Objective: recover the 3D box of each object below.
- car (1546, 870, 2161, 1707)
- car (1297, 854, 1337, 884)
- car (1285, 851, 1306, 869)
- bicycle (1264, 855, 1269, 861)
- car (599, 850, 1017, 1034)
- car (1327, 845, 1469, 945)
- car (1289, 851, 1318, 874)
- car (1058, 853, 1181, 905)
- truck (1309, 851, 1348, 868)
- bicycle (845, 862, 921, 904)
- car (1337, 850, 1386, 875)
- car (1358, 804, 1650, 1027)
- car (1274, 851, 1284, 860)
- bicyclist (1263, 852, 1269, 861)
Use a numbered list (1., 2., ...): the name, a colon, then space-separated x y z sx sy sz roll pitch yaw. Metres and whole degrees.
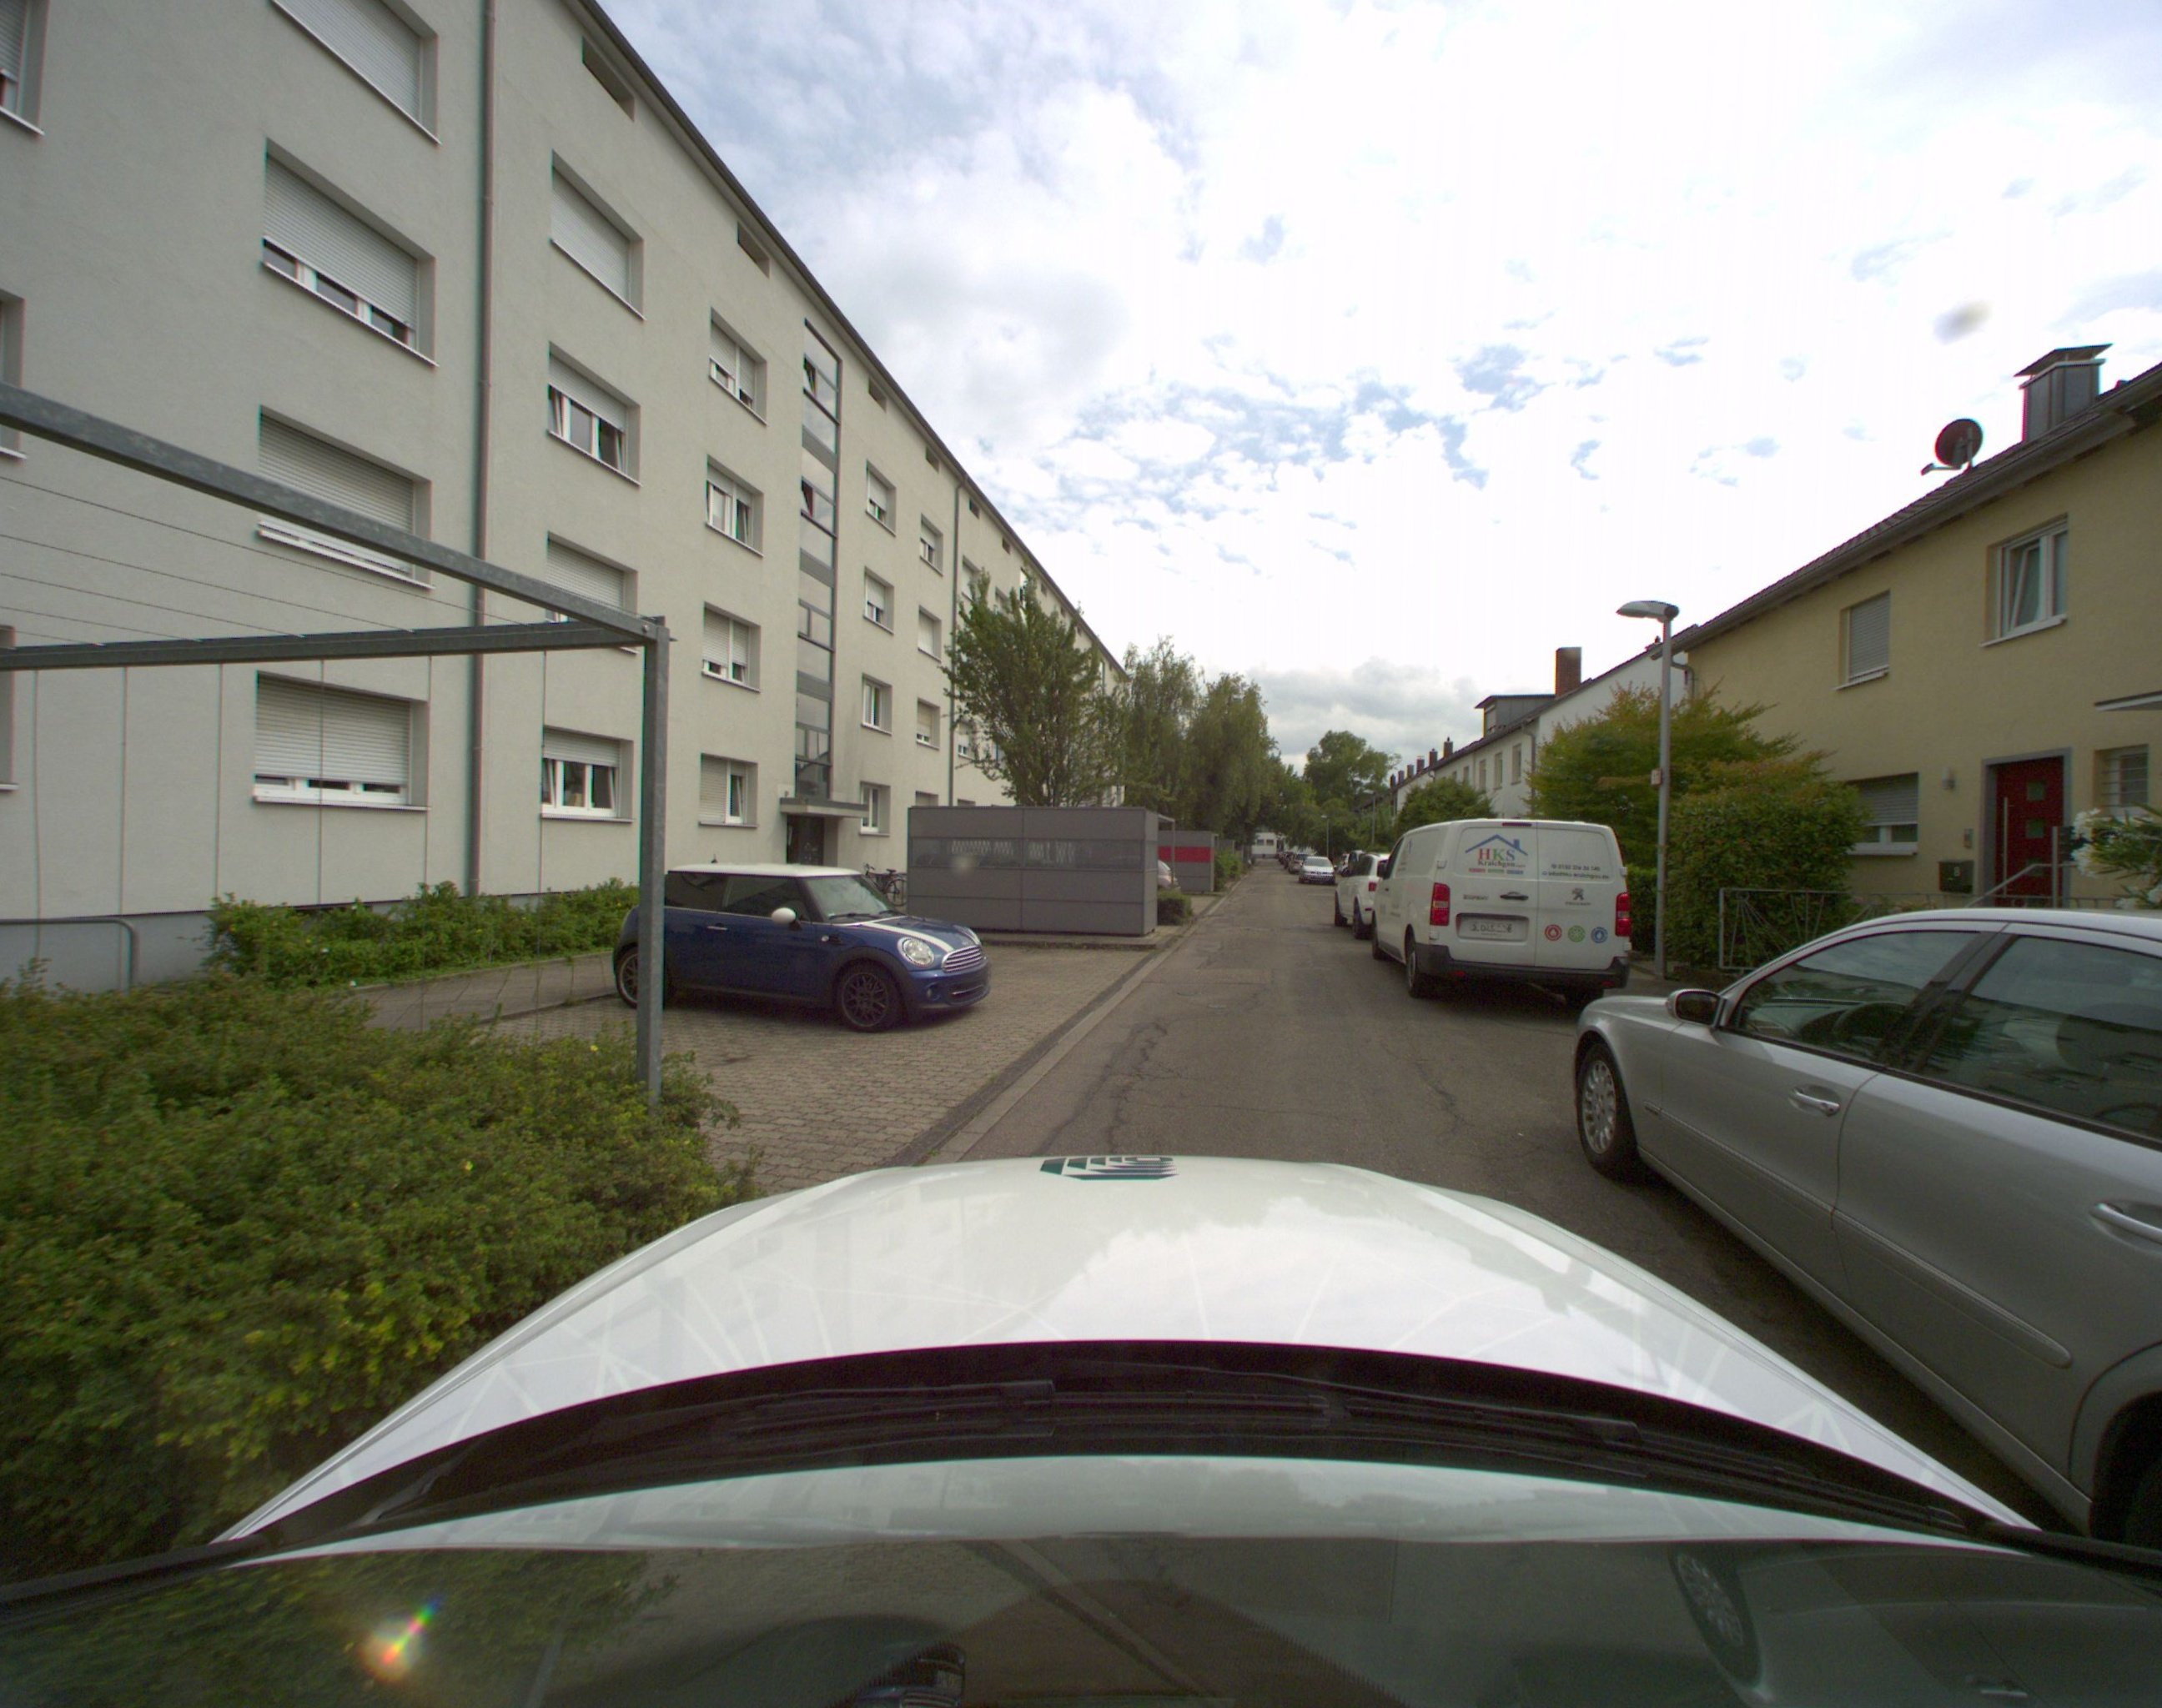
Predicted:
1. car: 2.931 0.835 2.211 1.770 1.420 4.473 2 1 15
2. car: 12.311 0.753 42.701 1.812 1.370 4.347 3 1 14
3. car: 21.200 0.566 80.548 1.812 1.581 4.208 3 1 14
4. bicycle: 32.916 0.707 144.600 0.684 1.131 2.589 3 0 15
5. car: -2.654 0.739 8.142 3.607 1.461 1.660 2 0 16
6. car: 6.056 0.691 16.072 1.813 1.635 4.174 2 1 10
7. car: 16.526 0.600 60.698 1.813 1.581 4.013 3 1 12
8. car: 1.213 0.722 24.660 3.541 1.480 1.715 0 0 9
9. truck: 29.560 0.654 97.402 4.360 2.014 2.007 -1 0 12
10. bicycle: -4.998 0.727 20.591 1.815 1.024 0.475 1 0 -28
11. car: 18.542 0.542 53.955 2.798 1.569 1.746 -1 0 10
12. car: 4.774 0.542 10.142 1.891 1.964 5.272 2 1 13
13. car: 38.022 0.308 156.630 1.812 1.581 4.015 3 1 14
14. bicyclist: 32.863 0.380 144.728 0.793 1.511 0.937 3 0 15
